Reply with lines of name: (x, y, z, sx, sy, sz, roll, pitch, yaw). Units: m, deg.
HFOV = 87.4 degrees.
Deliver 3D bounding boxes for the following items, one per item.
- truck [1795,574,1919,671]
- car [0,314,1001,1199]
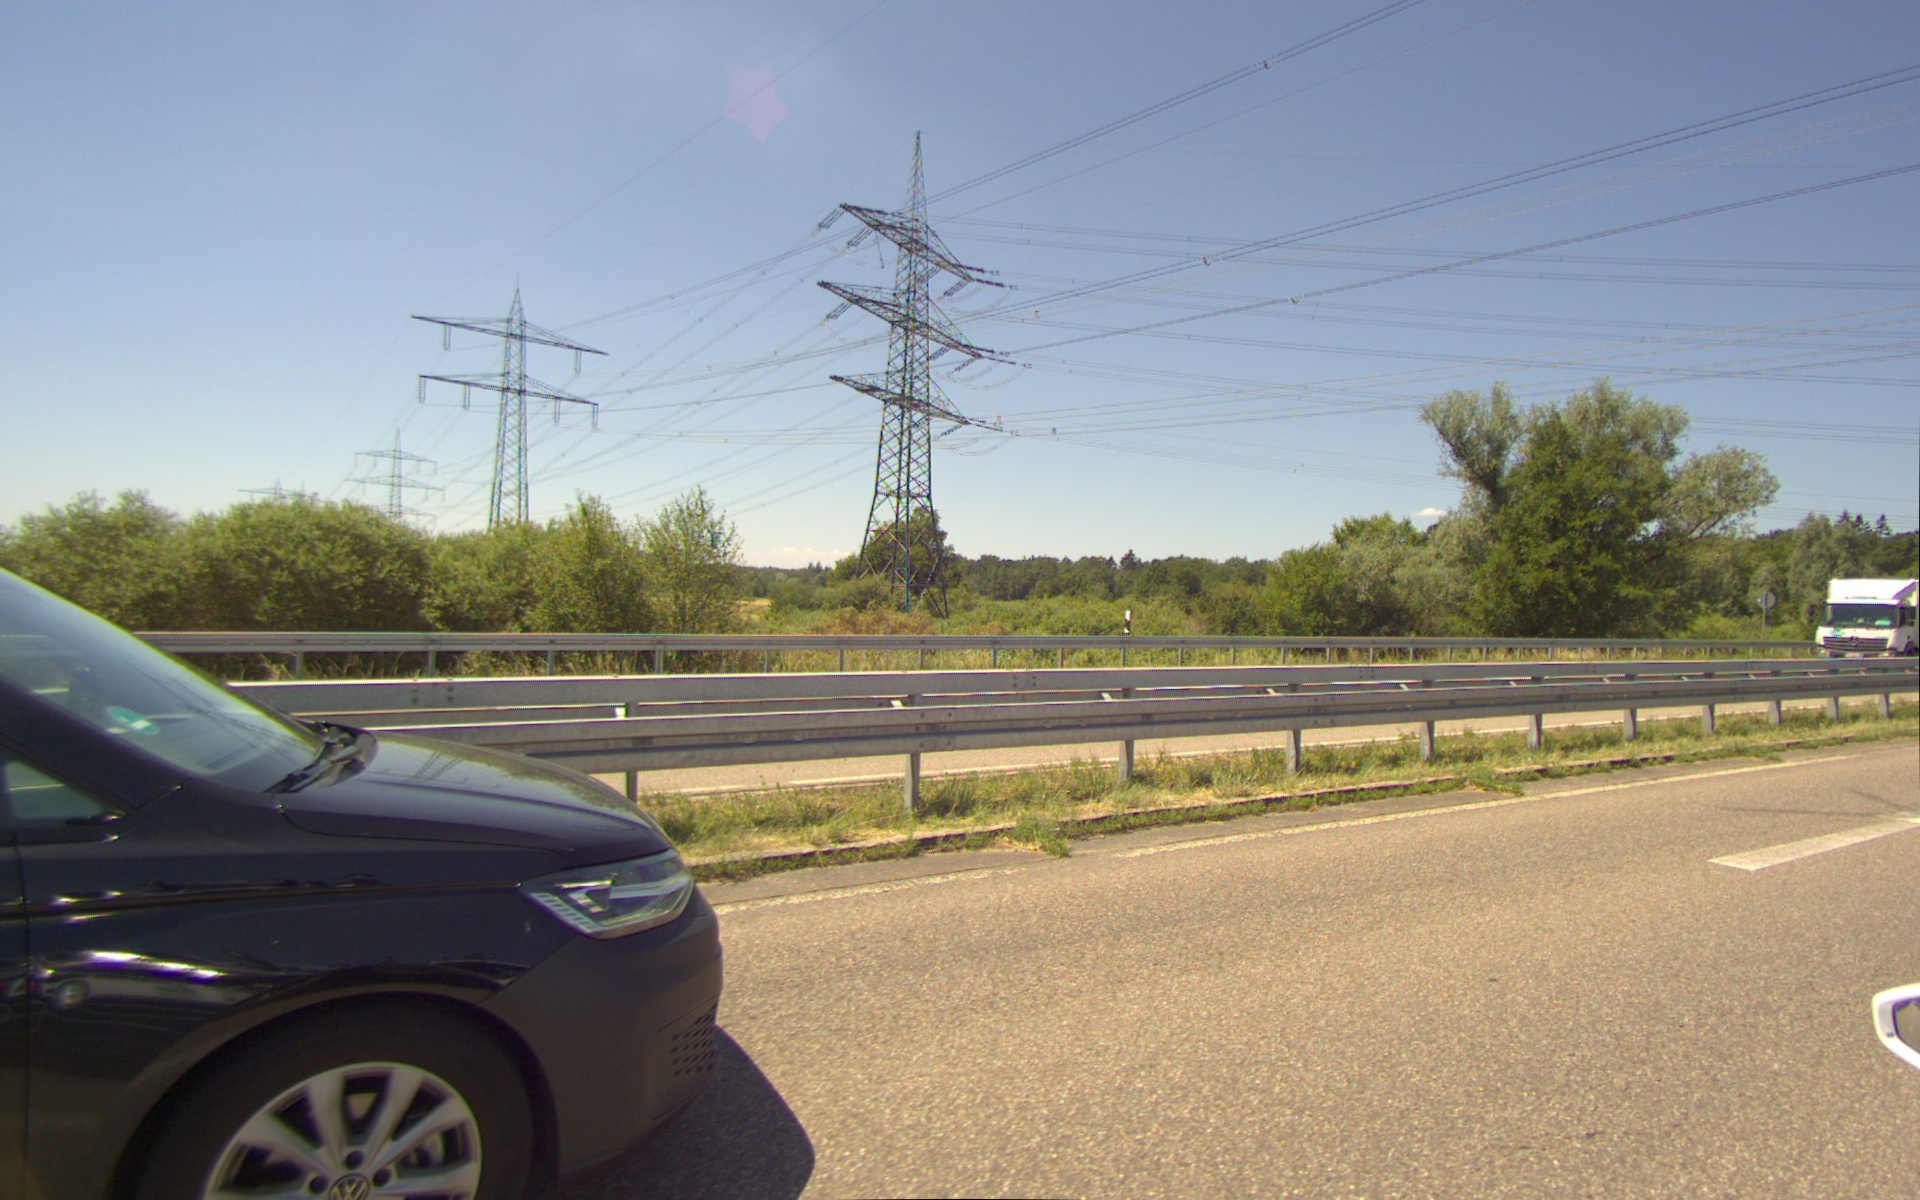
truck: (34.150, 0.852, 36.922, 8.307, 3.235, 2.705, 1, 0, -31)
car: (-2.733, 0.473, 1.983, 5.509, 1.912, 1.845, 2, -1, -31)
